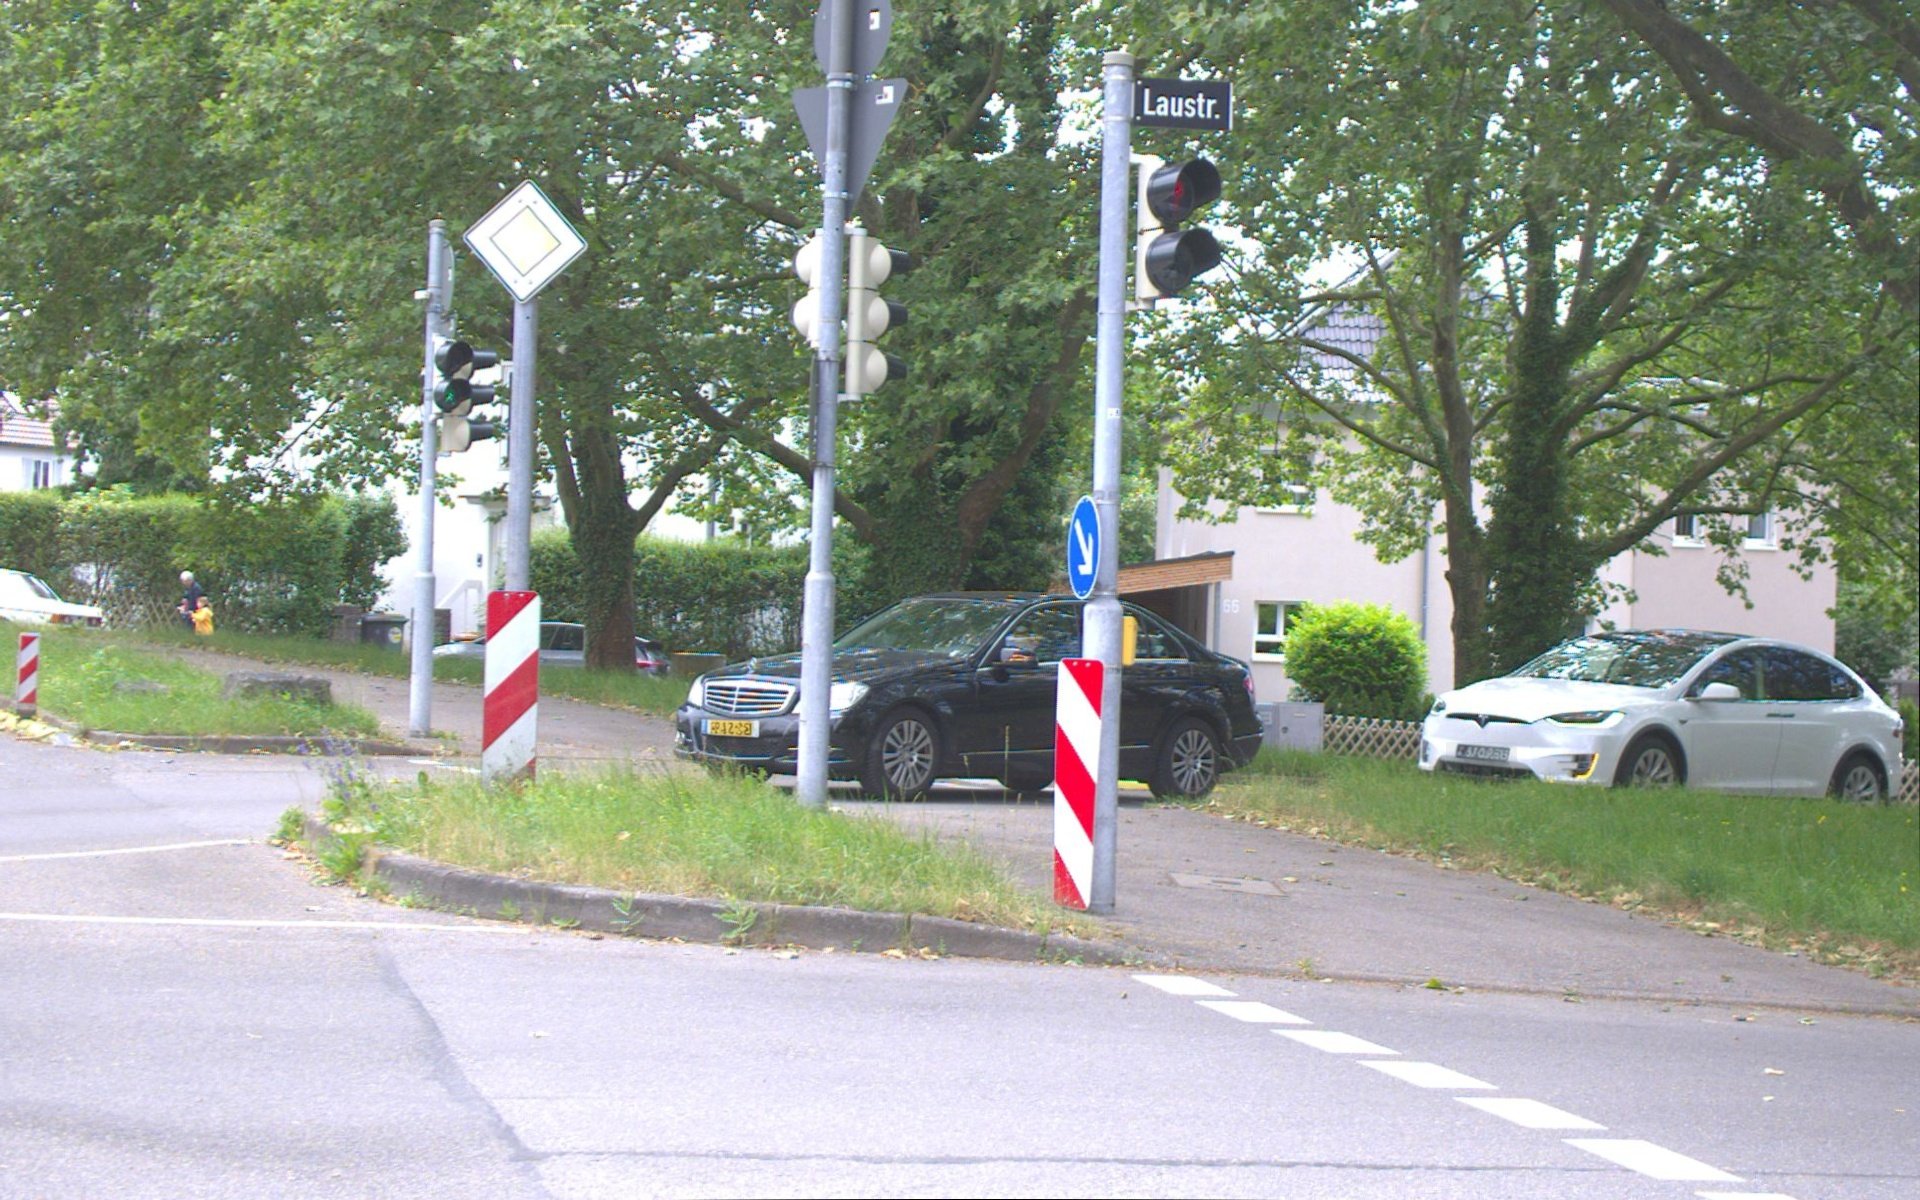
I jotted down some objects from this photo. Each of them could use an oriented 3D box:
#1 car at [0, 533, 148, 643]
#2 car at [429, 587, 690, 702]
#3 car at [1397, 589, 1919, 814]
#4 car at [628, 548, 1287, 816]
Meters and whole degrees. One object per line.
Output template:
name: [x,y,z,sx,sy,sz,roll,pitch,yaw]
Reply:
car: [-16.948,-0.278,60.013,4.871,1.785,2.215,3,0,16]
car: [-6.713,0.733,57.827,3.985,1.509,1.661,5,1,5]
car: [5.959,0.830,28.589,4.893,1.652,1.857,2,1,-43]
car: [0.066,0.591,23.406,4.374,1.512,1.762,5,-1,-43]
